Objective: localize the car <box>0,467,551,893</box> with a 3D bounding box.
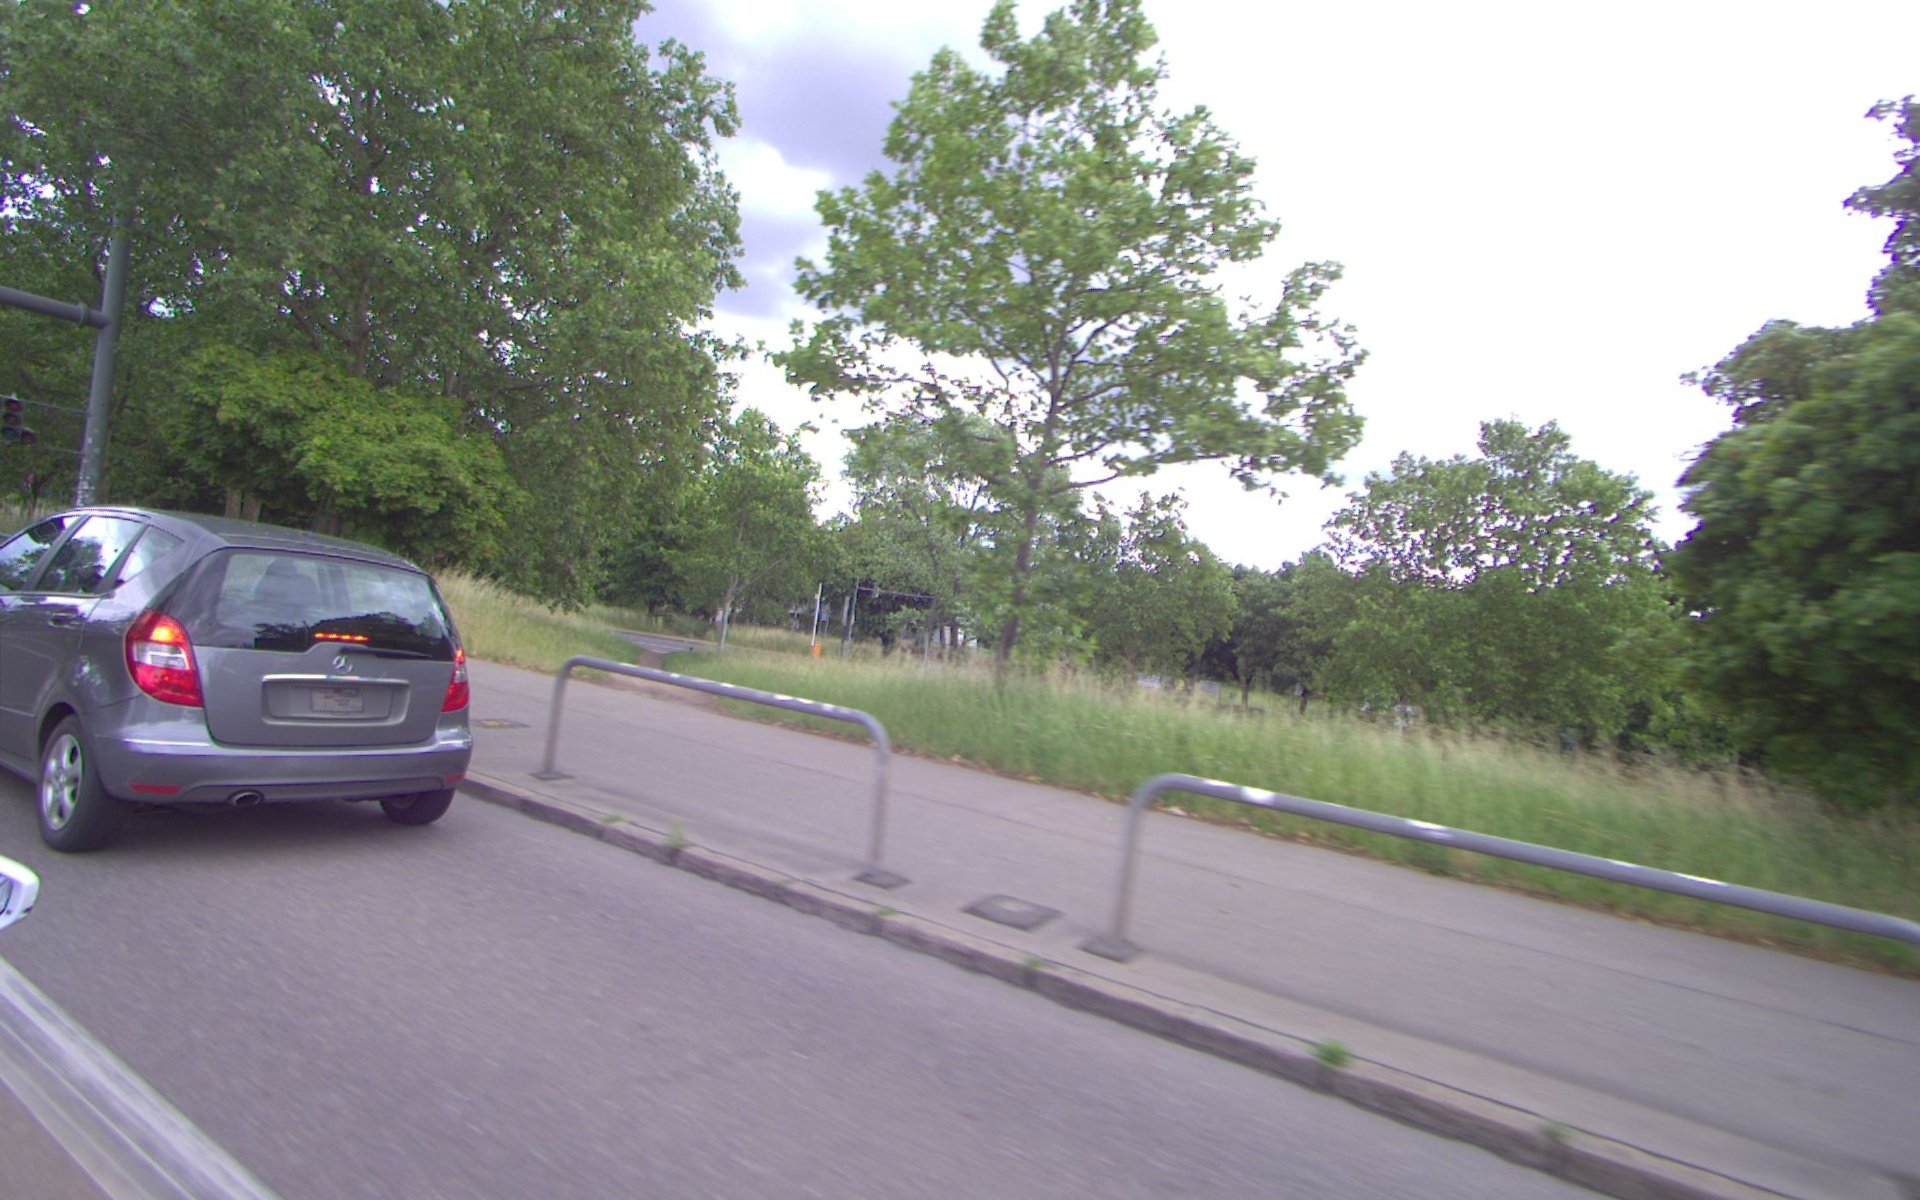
[{"bbox_3d":[-4.507,0.228,5.851,3.967,1.635,1.829,8,-1,32],"label":"car"}]
